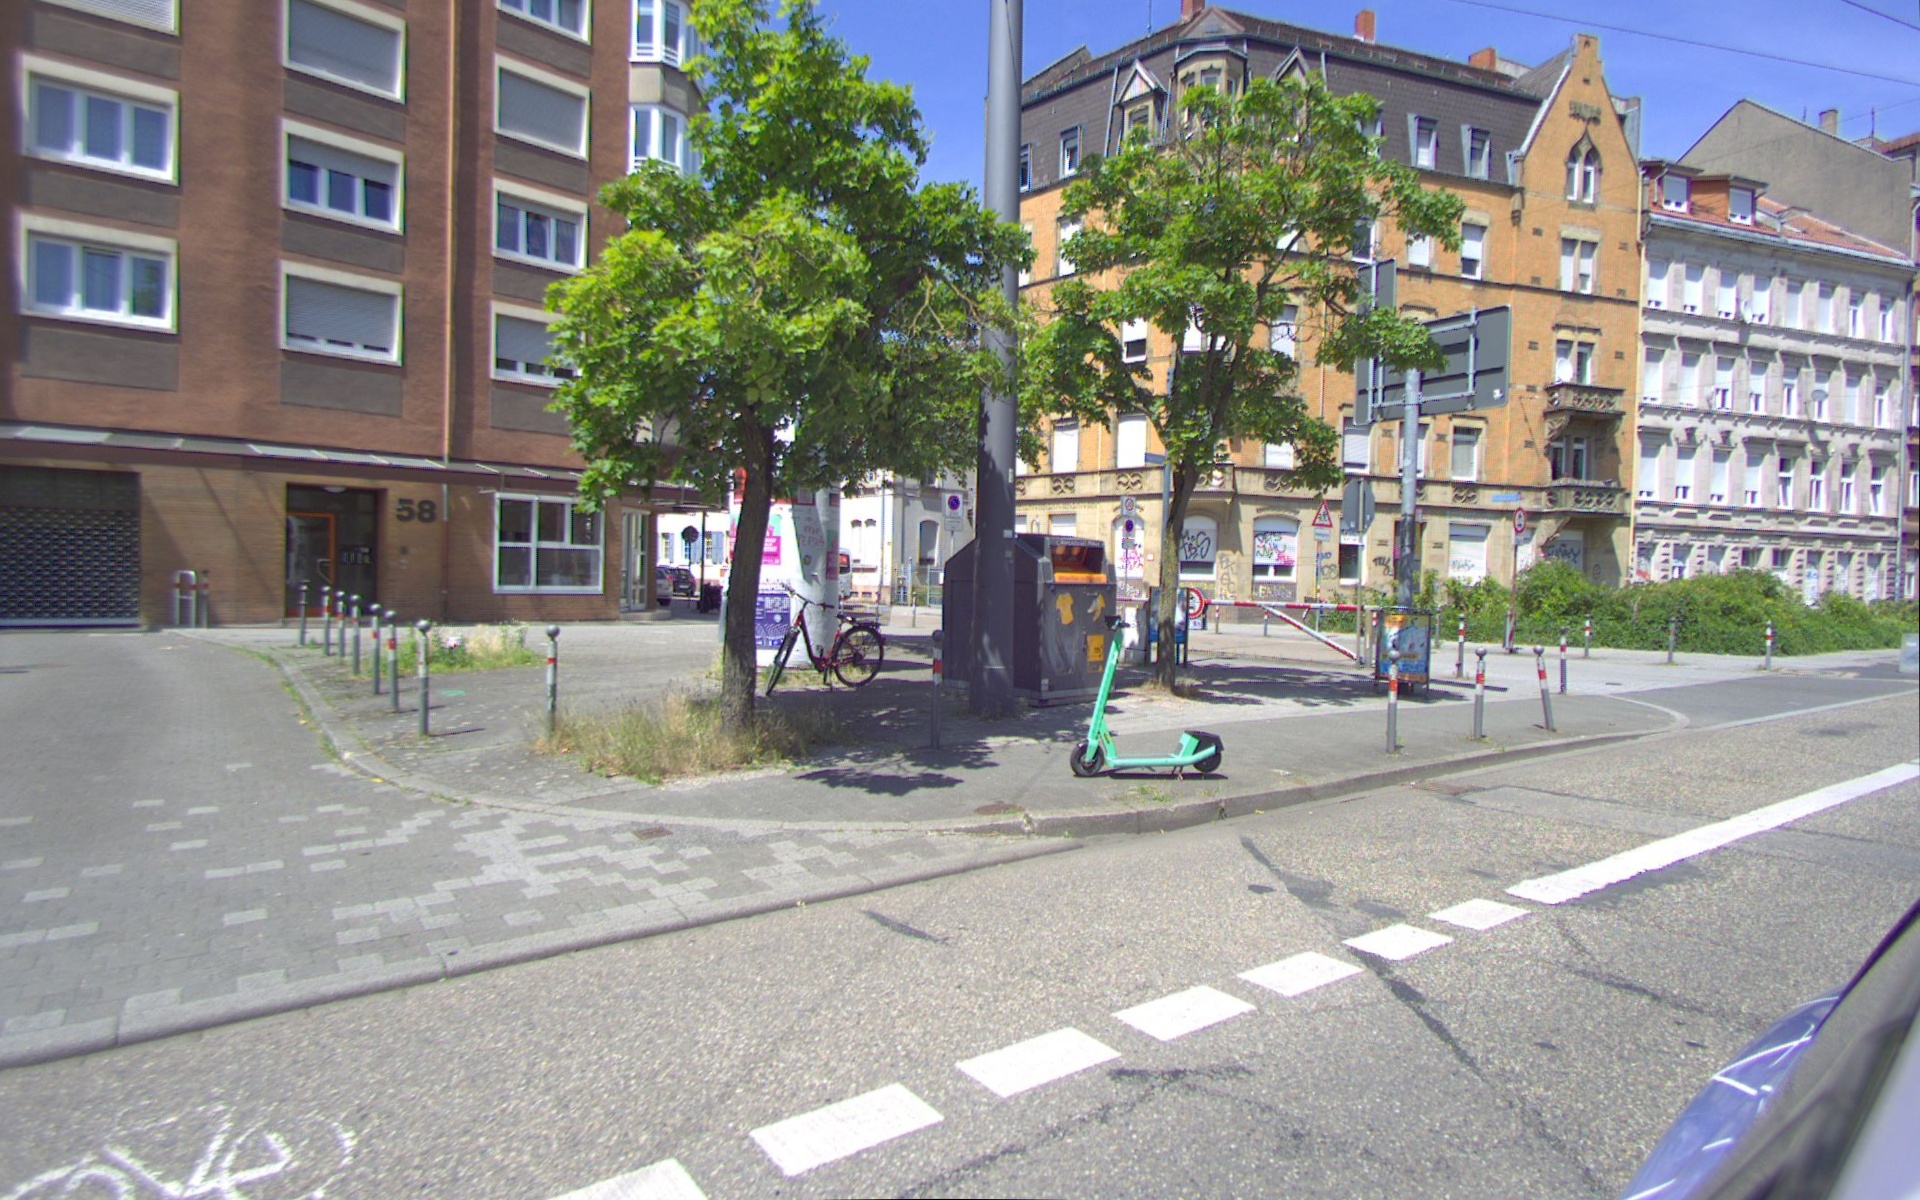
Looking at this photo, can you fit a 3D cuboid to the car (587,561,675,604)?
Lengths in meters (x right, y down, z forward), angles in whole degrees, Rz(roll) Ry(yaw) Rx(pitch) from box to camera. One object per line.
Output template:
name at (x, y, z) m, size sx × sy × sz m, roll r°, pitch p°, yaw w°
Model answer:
car at (-12.409, -0.646, 38.048) m, size 3.821 × 1.538 × 1.585 m, roll 1°, pitch 1°, yaw 44°

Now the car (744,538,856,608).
car at (-6.589, -1.069, 41.201) m, size 1.966 × 2.655 × 5.208 m, roll 0°, pitch 1°, yaw -42°

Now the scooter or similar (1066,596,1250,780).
scooter or similar at (1.421, 0.633, 7.304) m, size 1.155 × 1.228 × 0.393 m, roll 3°, pitch 3°, yaw -14°

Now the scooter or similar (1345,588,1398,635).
scooter or similar at (10.881, 0.291, 26.769) m, size 1.458 × 1.220 × 0.491 m, roll 0°, pitch 0°, yaw -29°

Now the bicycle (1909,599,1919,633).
bicycle at (34.522, 0.573, 35.380) m, size 0.483 × 1.195 × 1.922 m, roll 0°, pitch 0°, yaw -32°

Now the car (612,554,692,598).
car at (-15.332, -1.173, 50.261) m, size 1.966 × 2.061 × 4.819 m, roll 0°, pitch 1°, yaw -42°

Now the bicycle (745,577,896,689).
bicycle at (-1.529, 0.337, 11.301) m, size 1.679 × 1.167 × 0.487 m, roll 0°, pitch 0°, yaw -41°

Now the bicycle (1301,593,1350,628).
bicycle at (10.598, 0.296, 29.342) m, size 1.458 × 1.005 × 0.491 m, roll 0°, pitch 0°, yaw -29°
